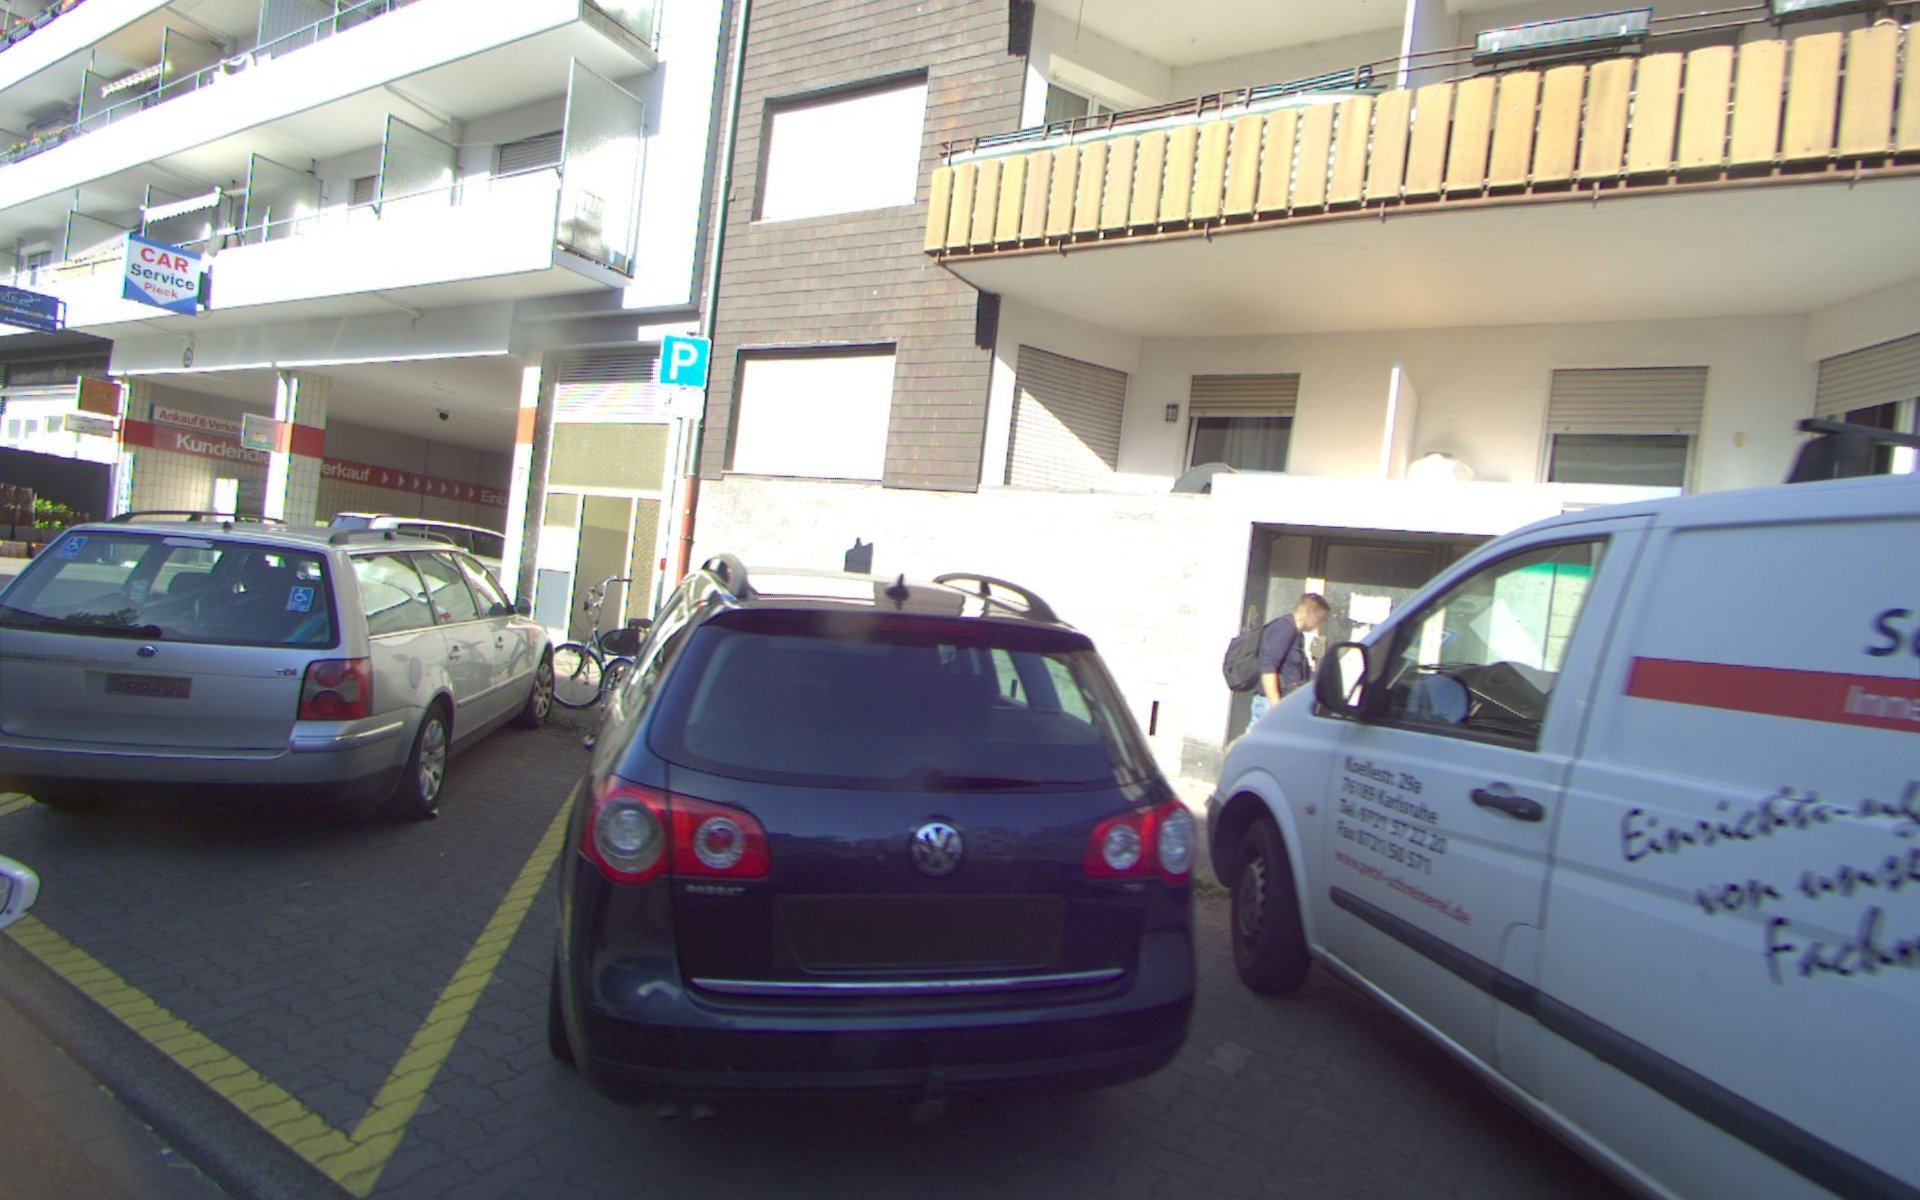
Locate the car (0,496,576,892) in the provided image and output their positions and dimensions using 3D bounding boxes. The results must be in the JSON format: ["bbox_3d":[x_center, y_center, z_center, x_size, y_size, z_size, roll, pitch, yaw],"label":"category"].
[{"bbox_3d":[-3.743,0.339,6.227,1.662,1.484,4.637,5,0,-11],"label":"car"}]

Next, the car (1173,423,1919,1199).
[{"bbox_3d":[2.377,0.725,2.419,2.014,1.923,4.519,4,2,-9],"label":"car"}]

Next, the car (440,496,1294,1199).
[{"bbox_3d":[-0.621,0.599,4.262,1.728,1.531,4.315,6,0,-14],"label":"car"}]

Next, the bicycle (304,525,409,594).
[{"bbox_3d":[-11.150,-0.737,18.639,0.459,1.090,1.568,5,-2,31],"label":"bicycle"}]

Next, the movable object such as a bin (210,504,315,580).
[{"bbox_3d":[-15.771,-1.307,22.771,1.244,1.518,1.464,4,-1,31],"label":"movable object such as a bin"}]

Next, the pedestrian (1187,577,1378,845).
[{"bbox_3d":[2.203,0.712,6.857,0.875,1.614,0.832,7,1,36],"label":"pedestrian"}]

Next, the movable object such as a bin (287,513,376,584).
[{"bbox_3d":[-14.992,-1.221,24.016,1.143,1.484,1.331,4,-1,32],"label":"movable object such as a bin"}]

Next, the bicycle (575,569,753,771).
[{"bbox_3d":[-2.443,0.483,8.057,0.699,1.269,2.242,7,1,-31],"label":"bicycle"}]

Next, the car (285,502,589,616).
[{"bbox_3d":[-9.154,-0.658,18.017,1.946,1.531,4.395,6,0,31],"label":"car"}]
